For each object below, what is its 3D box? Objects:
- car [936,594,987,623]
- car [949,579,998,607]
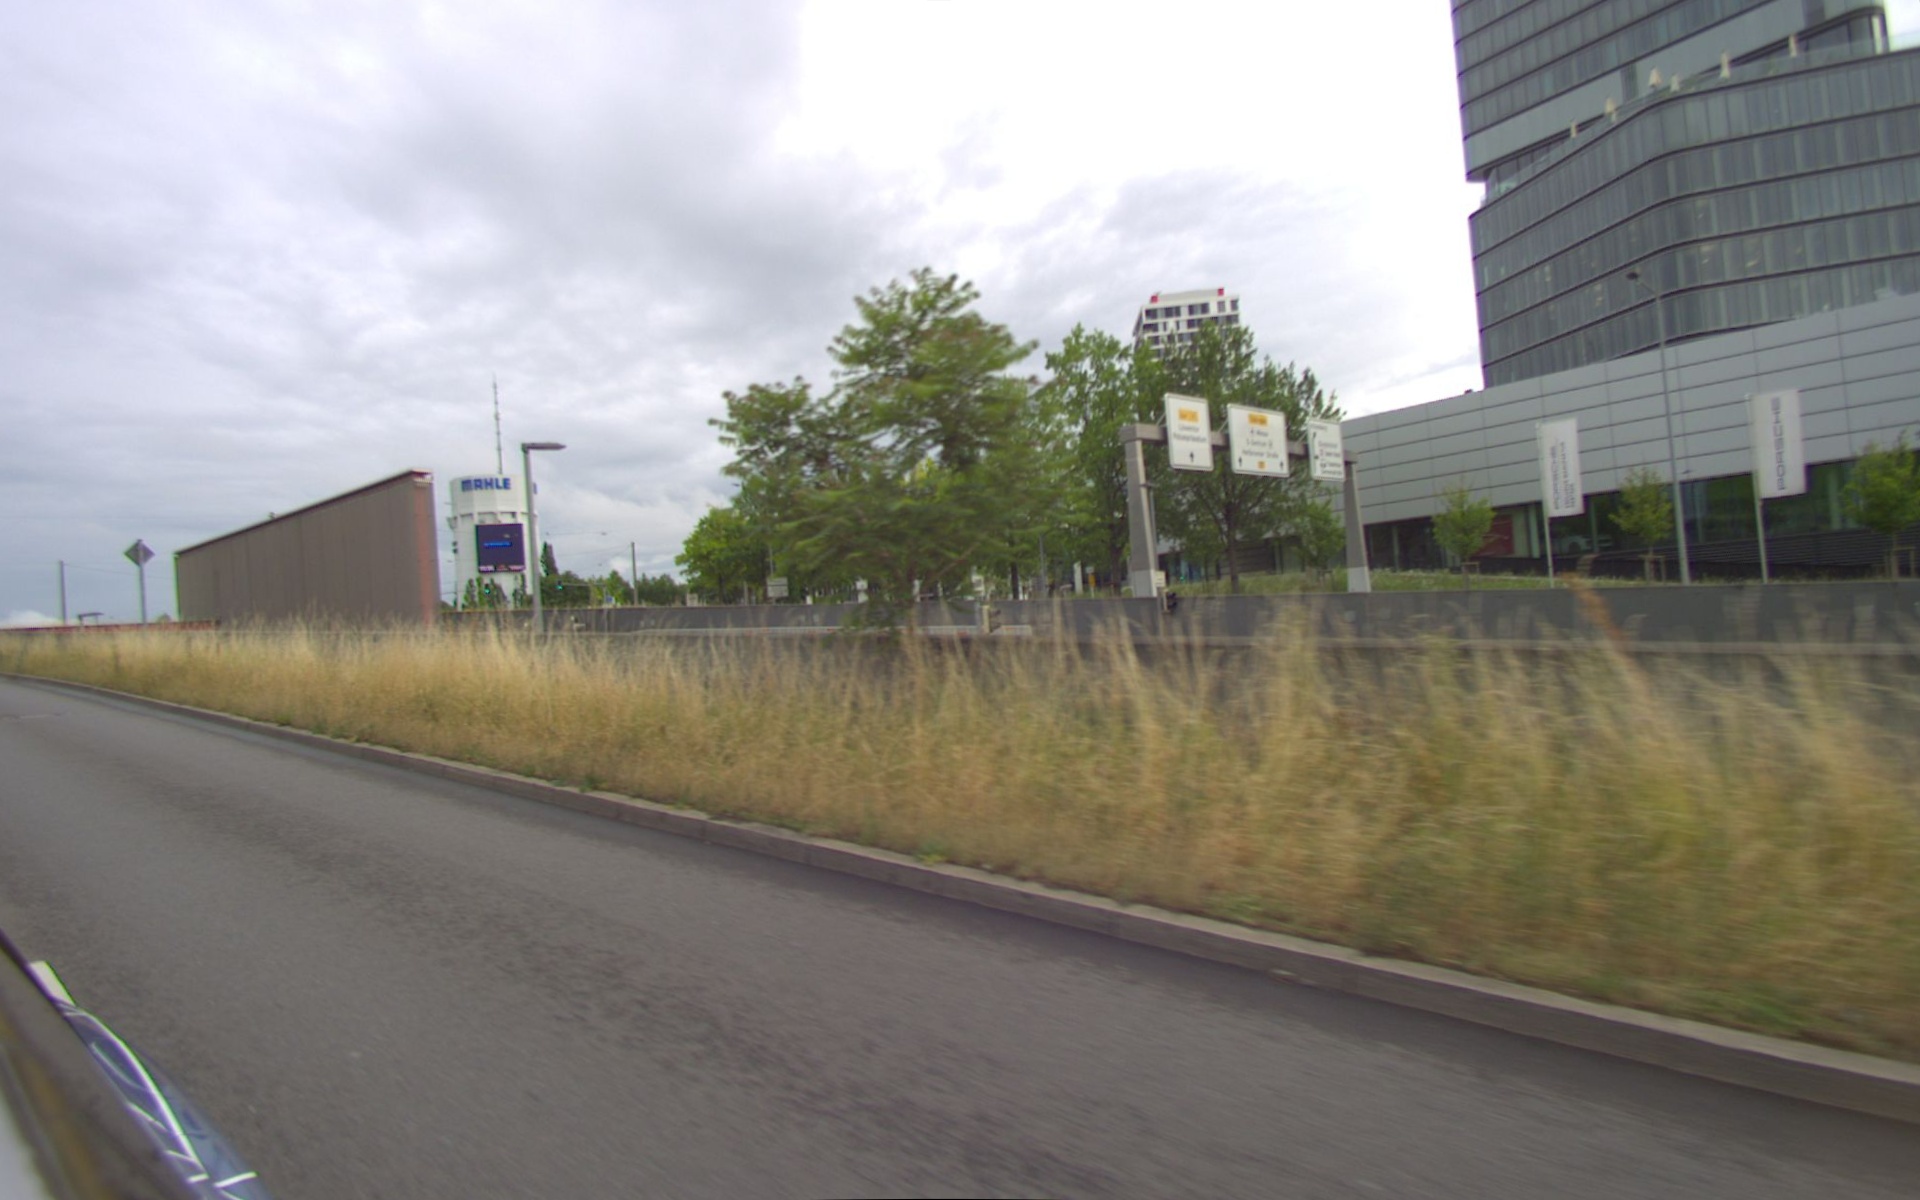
[{"bbox_3d":[0.126,0.776,88.953,3.993,2.028,1.976,-7,-1,37],"label":"car"},{"bbox_3d":[1.233,-0.663,92.611,3.994,2.028,1.976,-7,-1,37],"label":"car"}]
